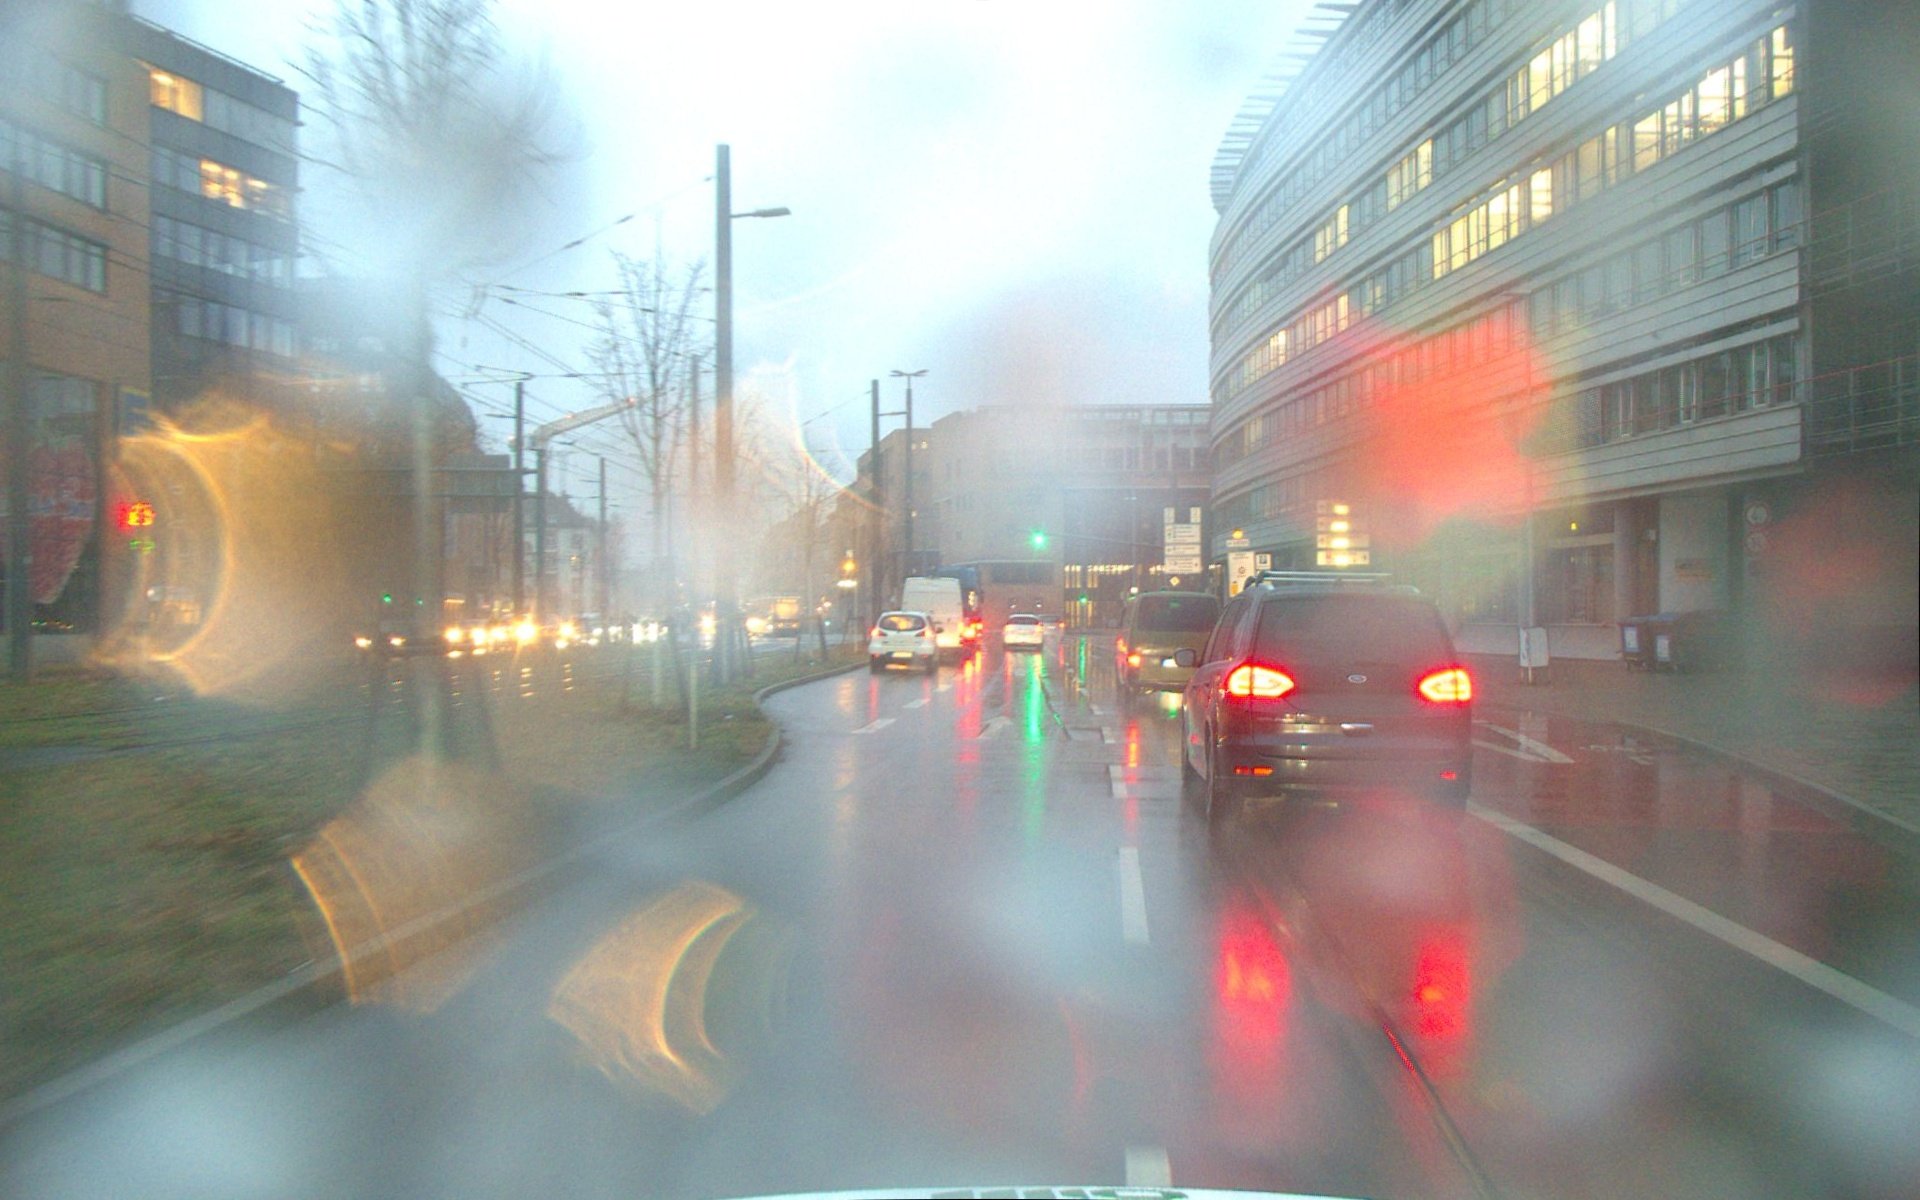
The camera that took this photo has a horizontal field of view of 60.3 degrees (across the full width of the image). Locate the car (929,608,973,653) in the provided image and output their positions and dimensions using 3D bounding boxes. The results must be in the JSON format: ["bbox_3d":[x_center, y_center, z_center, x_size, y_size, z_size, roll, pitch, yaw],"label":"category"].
[{"bbox_3d":[-0.346,1.081,58.512,1.487,1.547,3.469,0,-1,-2],"label":"car"}]

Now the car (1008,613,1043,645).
[{"bbox_3d":[2.815,1.216,70.734,1.480,1.328,3.041,0,-1,3],"label":"car"}]

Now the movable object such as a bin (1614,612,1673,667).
[{"bbox_3d":[16.875,0.962,40.860,0.828,1.316,1.166,-2,-1,-8],"label":"movable object such as a bin"}]

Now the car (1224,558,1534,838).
[{"bbox_3d":[3.045,0.659,12.771,1.638,1.811,4.002,-1,-1,4],"label":"car"}]

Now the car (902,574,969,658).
[{"bbox_3d":[-0.828,0.494,51.815,1.953,2.470,5.971,0,-1,-2],"label":"car"}]

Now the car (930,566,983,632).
[{"bbox_3d":[-0.194,-0.013,75.384,2.307,2.876,6.357,0,-1,-1],"label":"car"}]

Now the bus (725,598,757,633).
[{"bbox_3d":[-22.168,1.562,167.114,2.773,3.432,7.978,0,-1,-11],"label":"bus"}]

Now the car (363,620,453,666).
[{"bbox_3d":[-18.333,1.414,55.090,1.778,1.467,3.955,0,-1,-1],"label":"car"}]

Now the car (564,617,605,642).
[{"bbox_3d":[-22.910,1.801,101.109,1.955,1.475,4.308,0,-1,-7],"label":"car"}]

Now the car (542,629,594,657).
[{"bbox_3d":[-21.073,2.303,89.057,1.693,1.417,4.200,0,-1,2],"label":"car"}]

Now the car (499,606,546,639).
[{"bbox_3d":[-19.011,1.000,71.971,1.477,1.397,3.646,0,-1,-7],"label":"car"}]

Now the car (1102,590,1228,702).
[{"bbox_3d":[3.562,0.774,29.465,1.805,1.838,4.487,0,-1,2],"label":"car"}]

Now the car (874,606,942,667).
[{"bbox_3d":[-1.334,0.919,43.239,1.605,1.522,3.685,0,0,1],"label":"car"}]

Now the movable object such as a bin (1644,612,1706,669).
[{"bbox_3d":[17.087,0.953,39.557,0.828,1.316,1.166,-2,-1,-8],"label":"movable object such as a bin"}]

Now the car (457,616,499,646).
[{"bbox_3d":[-23.900,1.515,82.095,1.477,1.426,3.543,0,-1,-7],"label":"car"}]
